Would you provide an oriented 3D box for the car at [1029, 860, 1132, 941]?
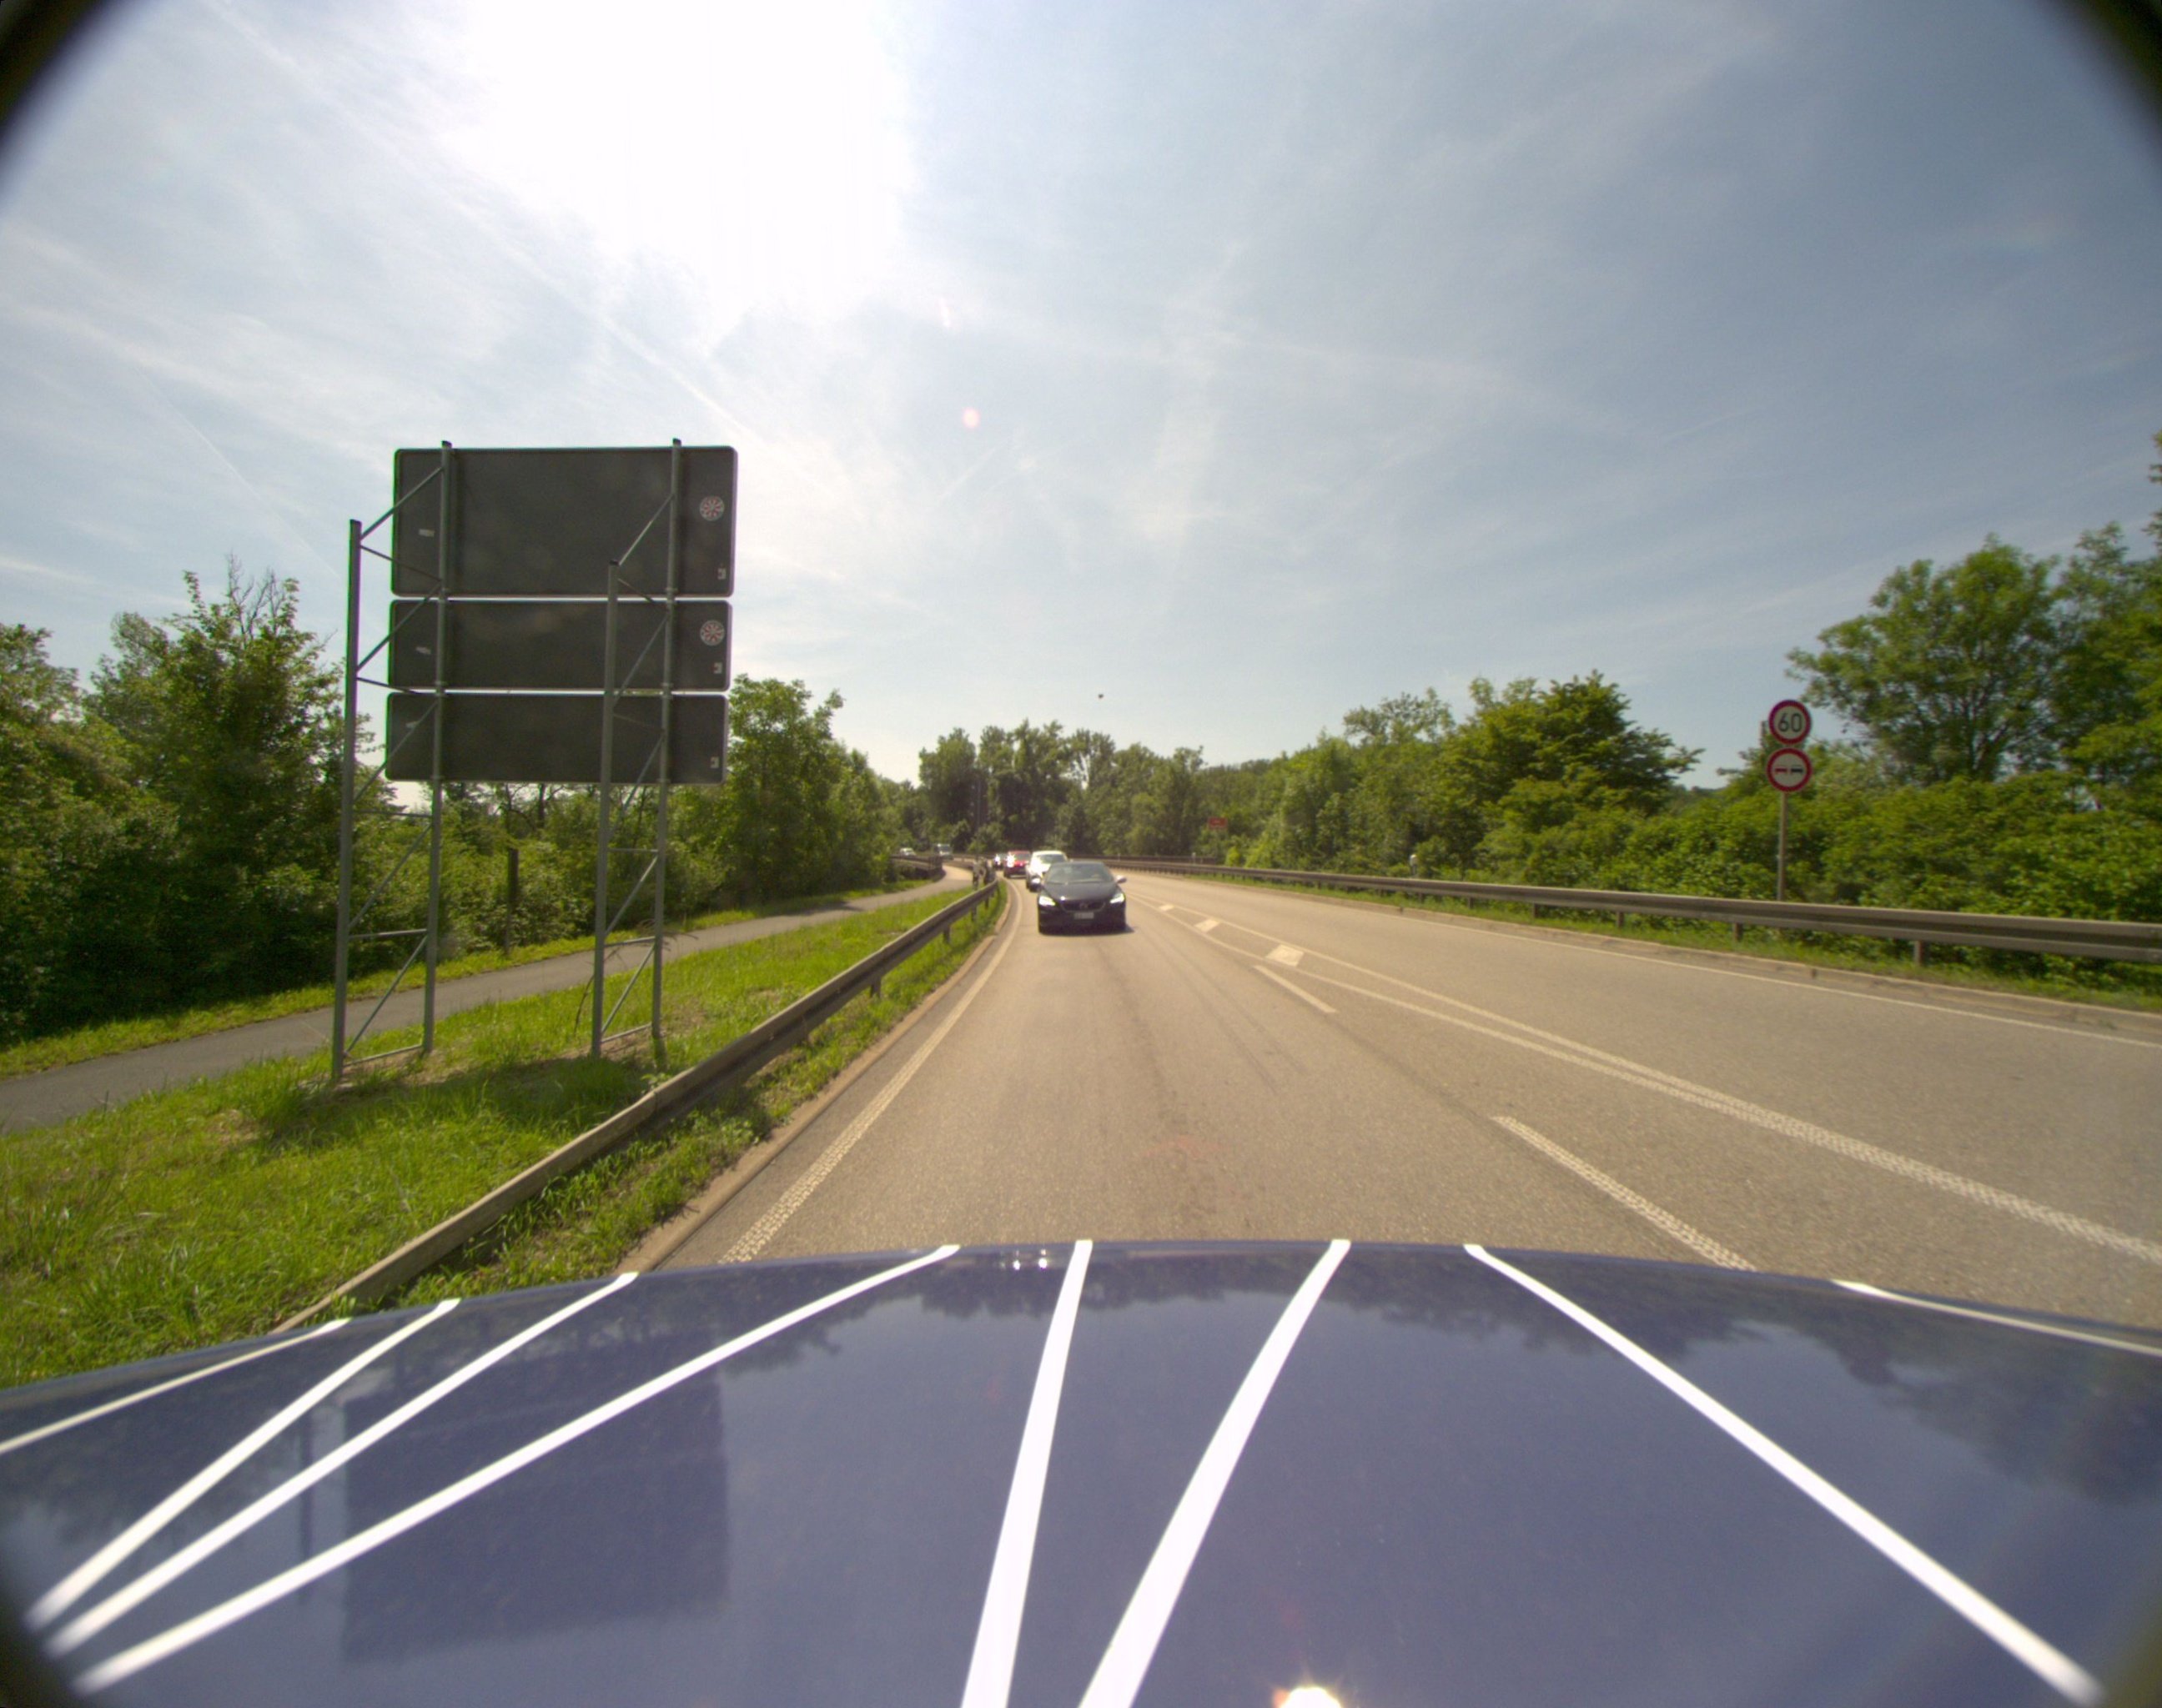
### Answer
[{"bbox_3d":[-0.136,0.901,16.366,1.910,1.413,3.948,-1,1,-4],"label":"car"}]

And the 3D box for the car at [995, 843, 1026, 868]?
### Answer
[{"bbox_3d":[-6.123,0.114,65.957,2.001,2.002,3.994,-3,2,-14],"label":"car"}]

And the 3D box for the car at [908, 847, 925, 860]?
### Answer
[{"bbox_3d":[-27.685,-0.130,128.135,2.002,2.002,4.703,-3,2,-21],"label":"car"}]

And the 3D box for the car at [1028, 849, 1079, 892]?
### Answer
[{"bbox_3d":[-1.244,0.658,32.335,1.910,1.638,3.948,-3,0,-5],"label":"car"}]

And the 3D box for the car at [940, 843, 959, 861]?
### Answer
[{"bbox_3d":[-18.620,-0.314,107.251,2.001,2.471,4.851,-3,2,-16],"label":"car"}]

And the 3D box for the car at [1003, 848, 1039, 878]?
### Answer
[{"bbox_3d":[-3.779,0.553,47.425,2.000,1.765,3.997,-1,0,-8],"label":"car"}]
